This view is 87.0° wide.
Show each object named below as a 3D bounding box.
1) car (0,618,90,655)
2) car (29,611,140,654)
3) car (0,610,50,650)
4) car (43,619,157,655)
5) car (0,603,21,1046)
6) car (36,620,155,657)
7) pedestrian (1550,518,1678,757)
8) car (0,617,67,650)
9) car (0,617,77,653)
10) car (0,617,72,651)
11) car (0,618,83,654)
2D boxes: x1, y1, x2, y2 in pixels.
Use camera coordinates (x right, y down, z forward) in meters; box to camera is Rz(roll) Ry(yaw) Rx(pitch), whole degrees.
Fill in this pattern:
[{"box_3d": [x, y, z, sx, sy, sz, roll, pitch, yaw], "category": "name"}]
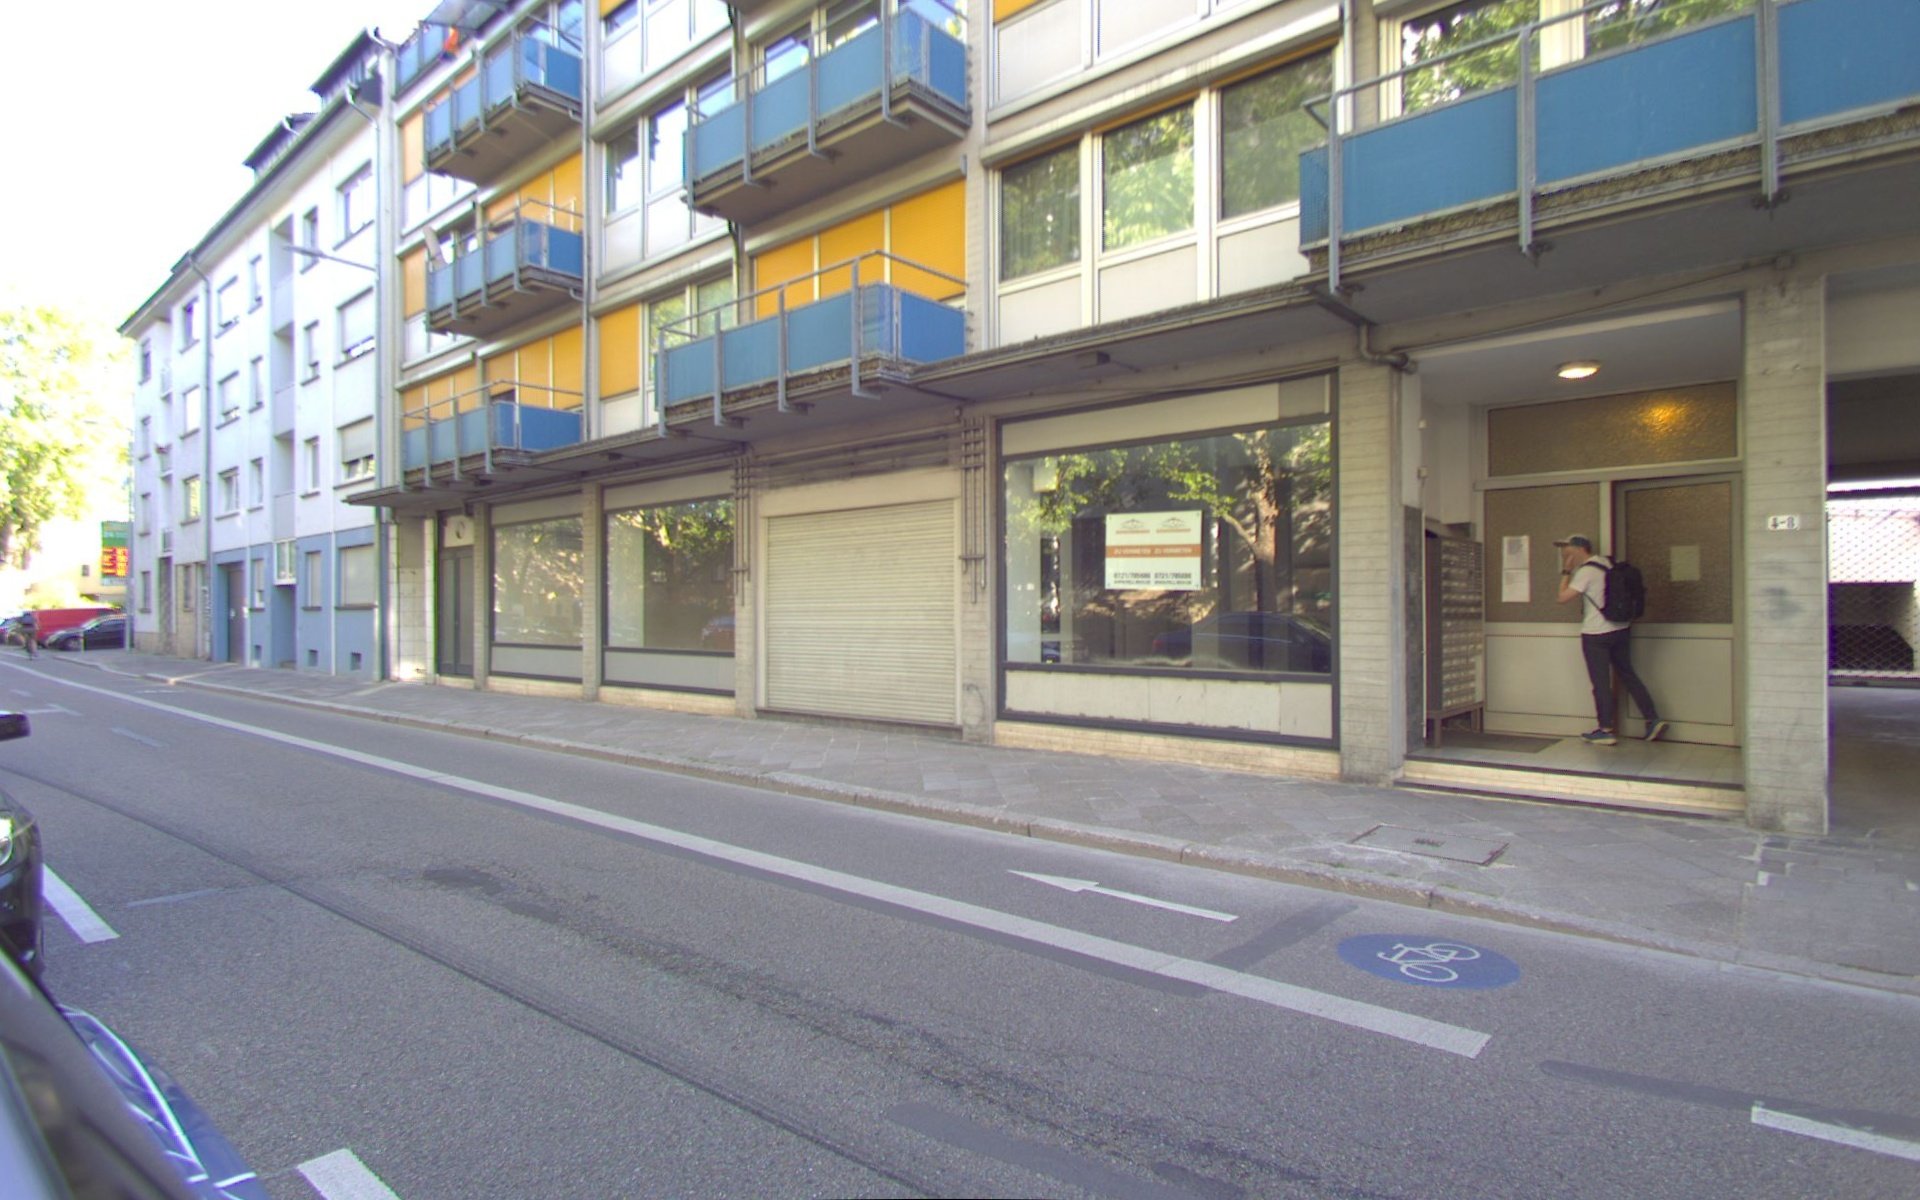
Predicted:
[{"box_3d": [-51.580, 2.019, 56.830, 2.000, 1.962, 3.944, -1, 0, 42], "category": "car"}, {"box_3d": [-43.440, 1.581, 50.252, 2.000, 1.962, 3.944, -1, 0, 42], "category": "car"}, {"box_3d": [-62.809, 1.966, 66.785, 2.000, 2.538, 3.944, -1, 0, 42], "category": "car"}, {"box_3d": [-41.185, 1.751, 48.527, 2.000, 1.564, 3.944, -1, 0, 42], "category": "car"}, {"box_3d": [-5.531, 0.808, 4.281, 4.479, 1.512, 1.842, -1, -1, 41], "category": "car"}, {"box_3d": [-39.766, 1.732, 46.606, 2.000, 1.564, 3.944, -1, 0, 42], "category": "car"}, {"box_3d": [5.482, 0.297, 8.489, 0.787, 1.894, 0.573, -1, 0, 45], "category": "pedestrian"}, {"box_3d": [-59.217, 2.119, 64.016, 2.000, 1.962, 3.944, -1, 0, 42], "category": "car"}, {"box_3d": [-55.612, 2.072, 60.565, 2.000, 1.962, 3.944, -1, 0, 42], "category": "car"}, {"box_3d": [-57.417, 2.095, 62.283, 2.000, 1.962, 3.944, -1, 0, 42], "category": "car"}, {"box_3d": [-53.530, 2.045, 58.612, 2.000, 1.962, 3.944, -1, 0, 42], "category": "car"}]
